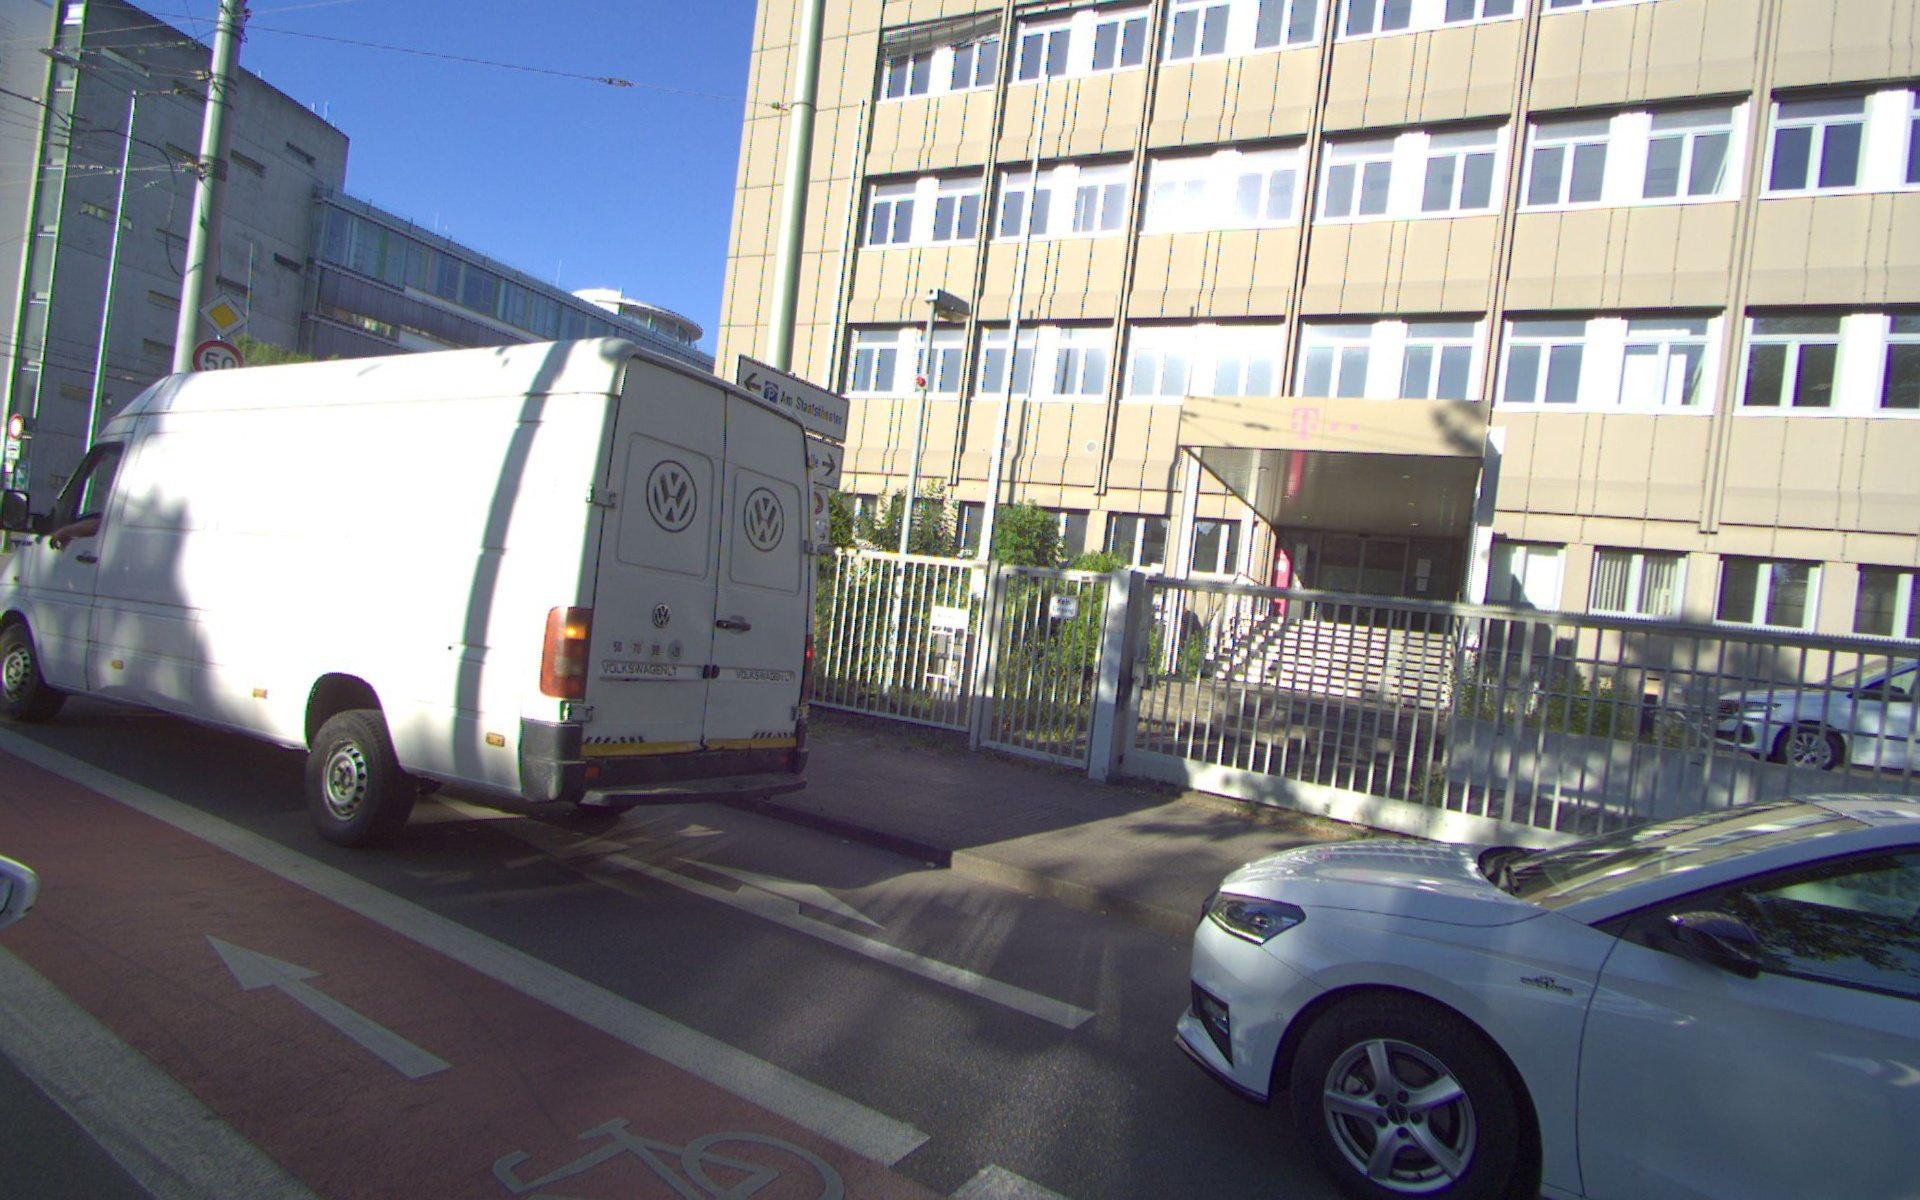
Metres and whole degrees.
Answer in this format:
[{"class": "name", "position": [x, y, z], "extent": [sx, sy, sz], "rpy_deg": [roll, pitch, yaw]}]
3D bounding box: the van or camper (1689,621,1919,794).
[{"class": "van or camper", "position": [12.878, 1.564, 13.181], "extent": [4.911, 1.933, 1.985], "rpy_deg": [7, 0, 26]}]

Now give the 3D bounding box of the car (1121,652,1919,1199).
[{"class": "car", "position": [2.731, 1.204, 3.049], "extent": [3.914, 1.518, 1.806], "rpy_deg": [7, -1, 30]}]

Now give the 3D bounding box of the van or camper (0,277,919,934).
[{"class": "van or camper", "position": [-3.689, -0.193, 6.664], "extent": [6.236, 2.764, 2.276], "rpy_deg": [7, -2, 28]}]

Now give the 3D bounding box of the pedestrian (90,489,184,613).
[{"class": "pedestrian", "position": [-12.598, -0.740, 15.398], "extent": [0.759, 1.770, 0.787], "rpy_deg": [7, 1, 32]}]
